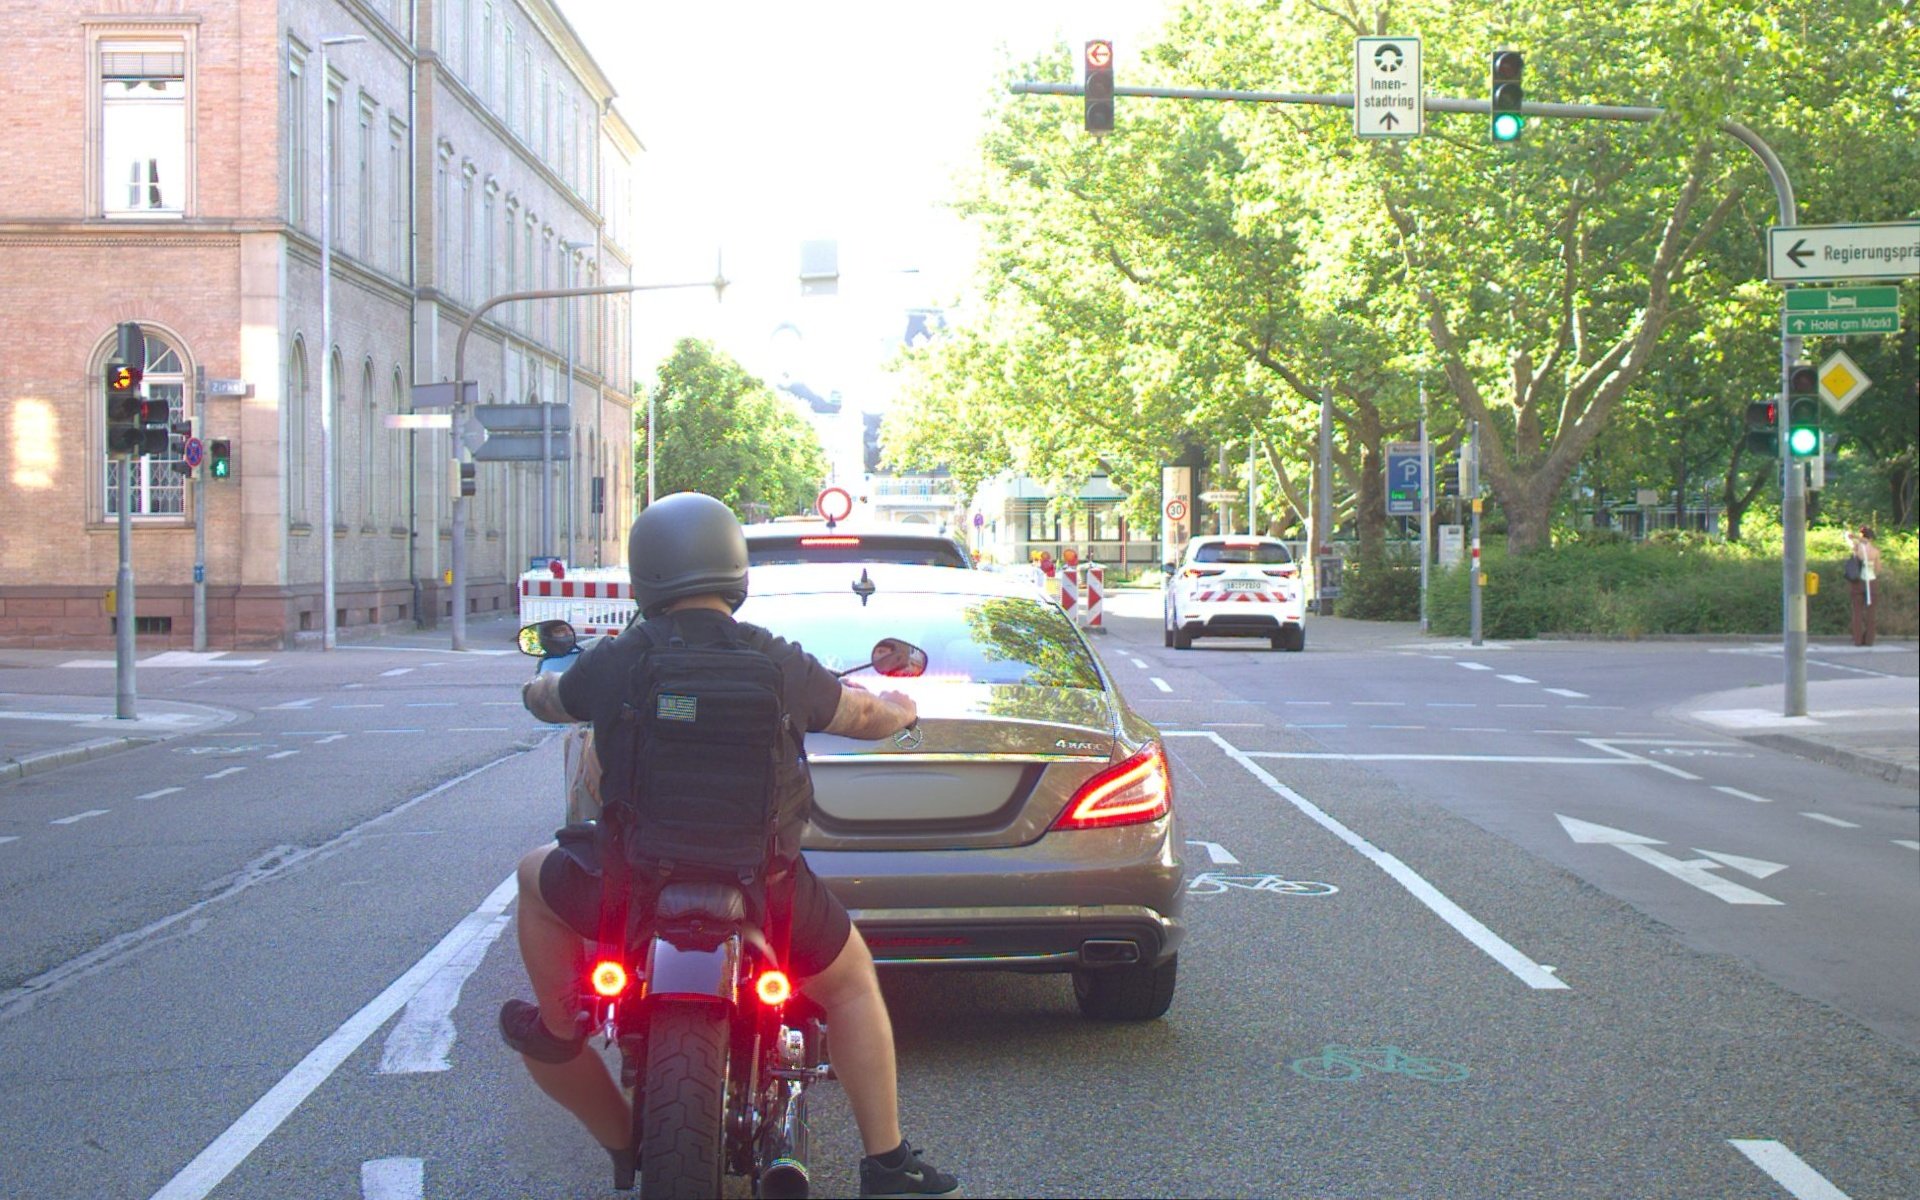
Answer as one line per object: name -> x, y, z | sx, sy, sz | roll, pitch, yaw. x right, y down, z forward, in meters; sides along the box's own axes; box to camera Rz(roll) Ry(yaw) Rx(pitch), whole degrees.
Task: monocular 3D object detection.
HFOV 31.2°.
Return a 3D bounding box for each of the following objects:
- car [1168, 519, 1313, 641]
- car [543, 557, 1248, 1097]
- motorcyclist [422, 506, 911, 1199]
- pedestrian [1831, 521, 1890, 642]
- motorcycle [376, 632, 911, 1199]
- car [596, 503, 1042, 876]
car -> 4.137, -0.331, 51.274 | 1.943, 1.702, 4.483 | 1, 1, 2
car -> -0.429, 0.586, 11.637 | 1.869, 1.439, 4.431 | 0, 1, -8
motorcyclist -> -0.600, 0.586, 7.564 | 0.980, 1.573, 1.248 | 0, 1, -1
pedestrian -> 13.241, -0.275, 50.534 | 0.678, 1.766, 0.616 | 1, 0, 29
motorcycle -> -0.603, 0.739, 7.573 | 0.980, 1.271, 2.407 | 0, 1, -1
car -> -0.662, 0.385, 17.559 | 1.993, 1.660, 4.000 | 1, 1, -1
